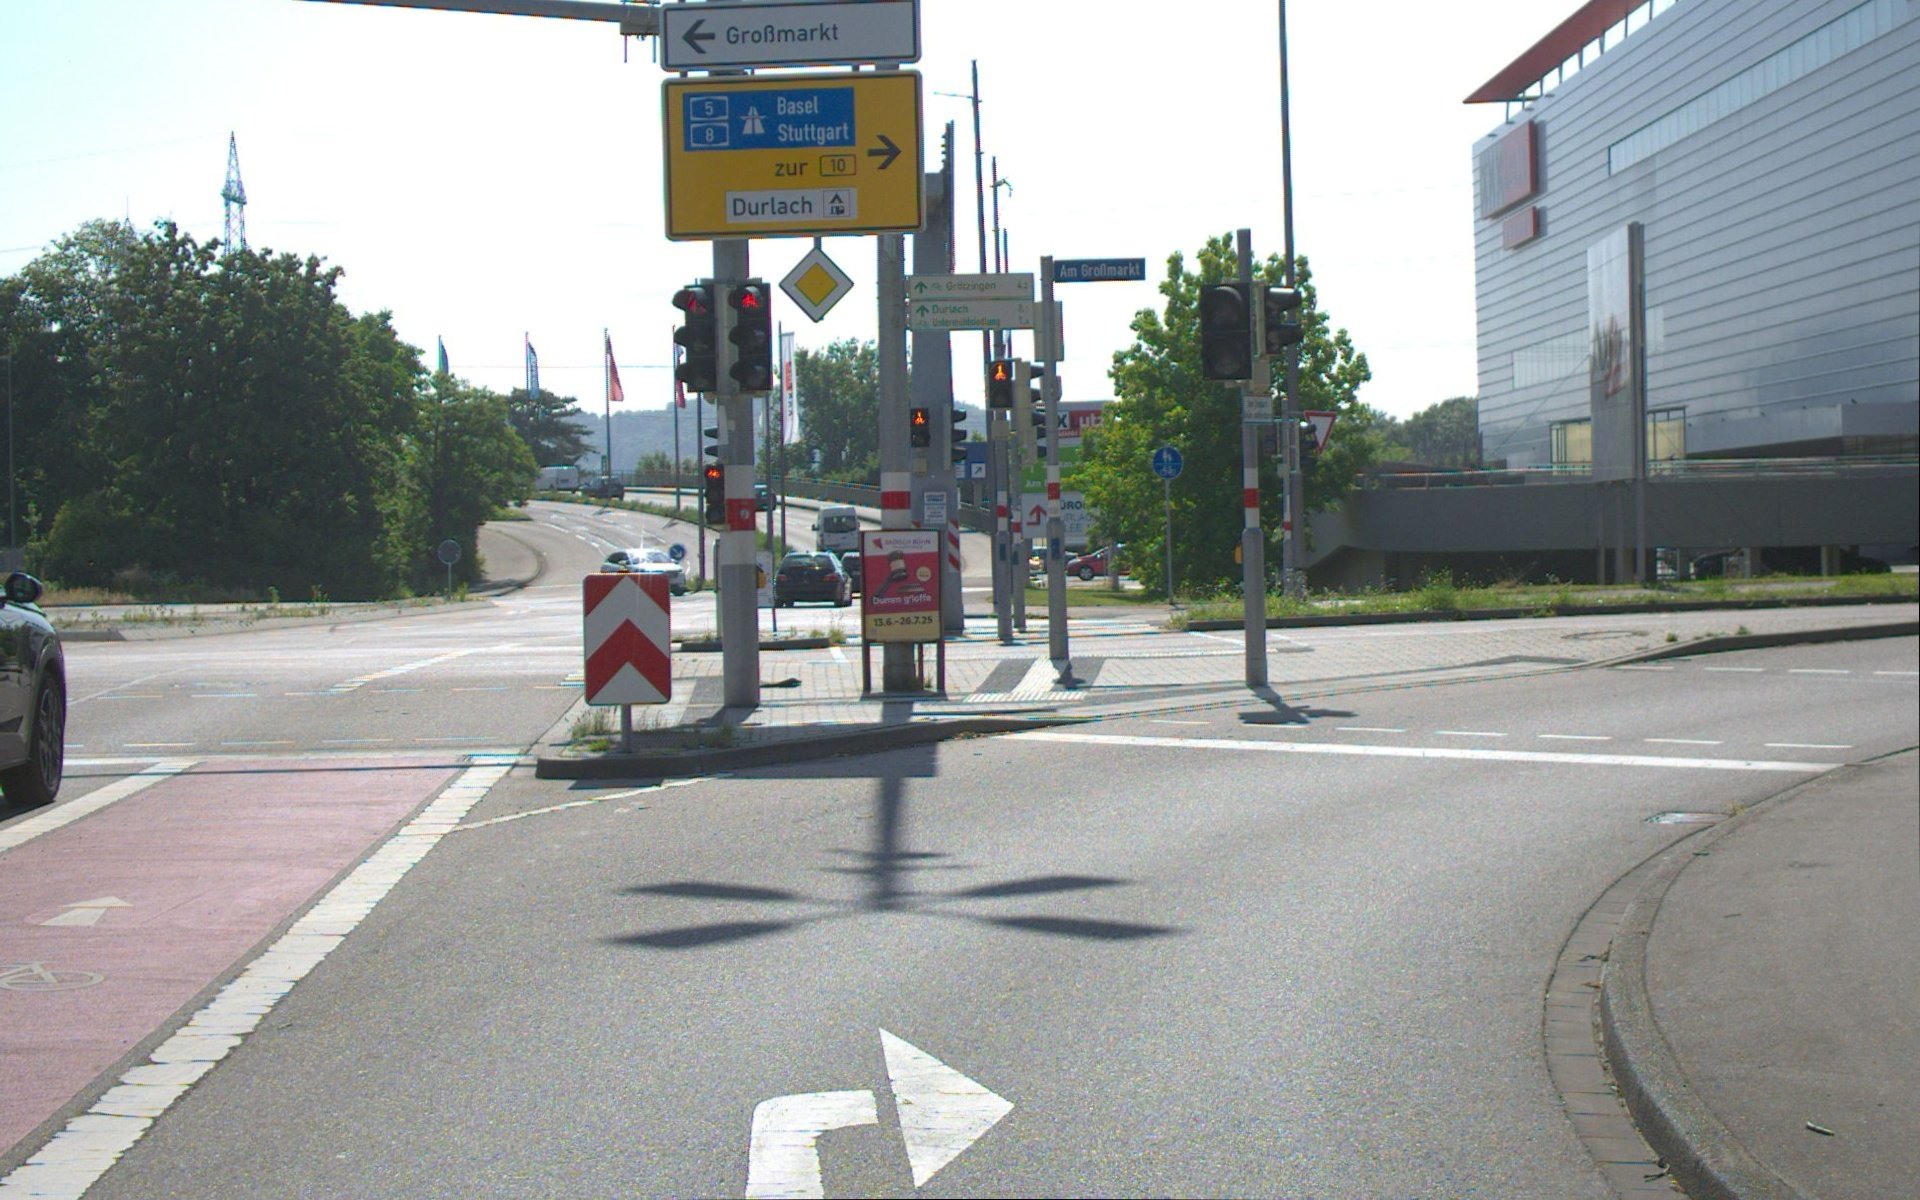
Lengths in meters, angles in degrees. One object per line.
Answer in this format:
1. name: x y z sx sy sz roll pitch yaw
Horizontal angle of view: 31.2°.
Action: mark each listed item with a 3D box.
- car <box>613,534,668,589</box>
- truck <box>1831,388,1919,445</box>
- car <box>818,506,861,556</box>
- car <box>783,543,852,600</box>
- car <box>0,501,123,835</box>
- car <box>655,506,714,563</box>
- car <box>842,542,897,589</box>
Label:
1. car: -10.906 -1.320 117.582 1.760 1.787 3.347 -2 1 -4
2. truck: 34.616 -6.589 123.866 5.909 2.006 2.000 1 2 0
3. car: -5.868 -3.383 167.486 1.993 2.313 4.001 1 2 -1
4. car: -3.730 -0.759 90.313 1.689 1.354 4.001 1 2 -1
5. car: -5.620 0.358 16.906 1.807 1.634 4.459 -2 1 1
6. car: -10.130 -2.422 126.577 1.993 2.006 3.981 1 2 -2
7. car: -2.863 -1.104 109.211 1.689 1.354 4.001 1 2 -1
